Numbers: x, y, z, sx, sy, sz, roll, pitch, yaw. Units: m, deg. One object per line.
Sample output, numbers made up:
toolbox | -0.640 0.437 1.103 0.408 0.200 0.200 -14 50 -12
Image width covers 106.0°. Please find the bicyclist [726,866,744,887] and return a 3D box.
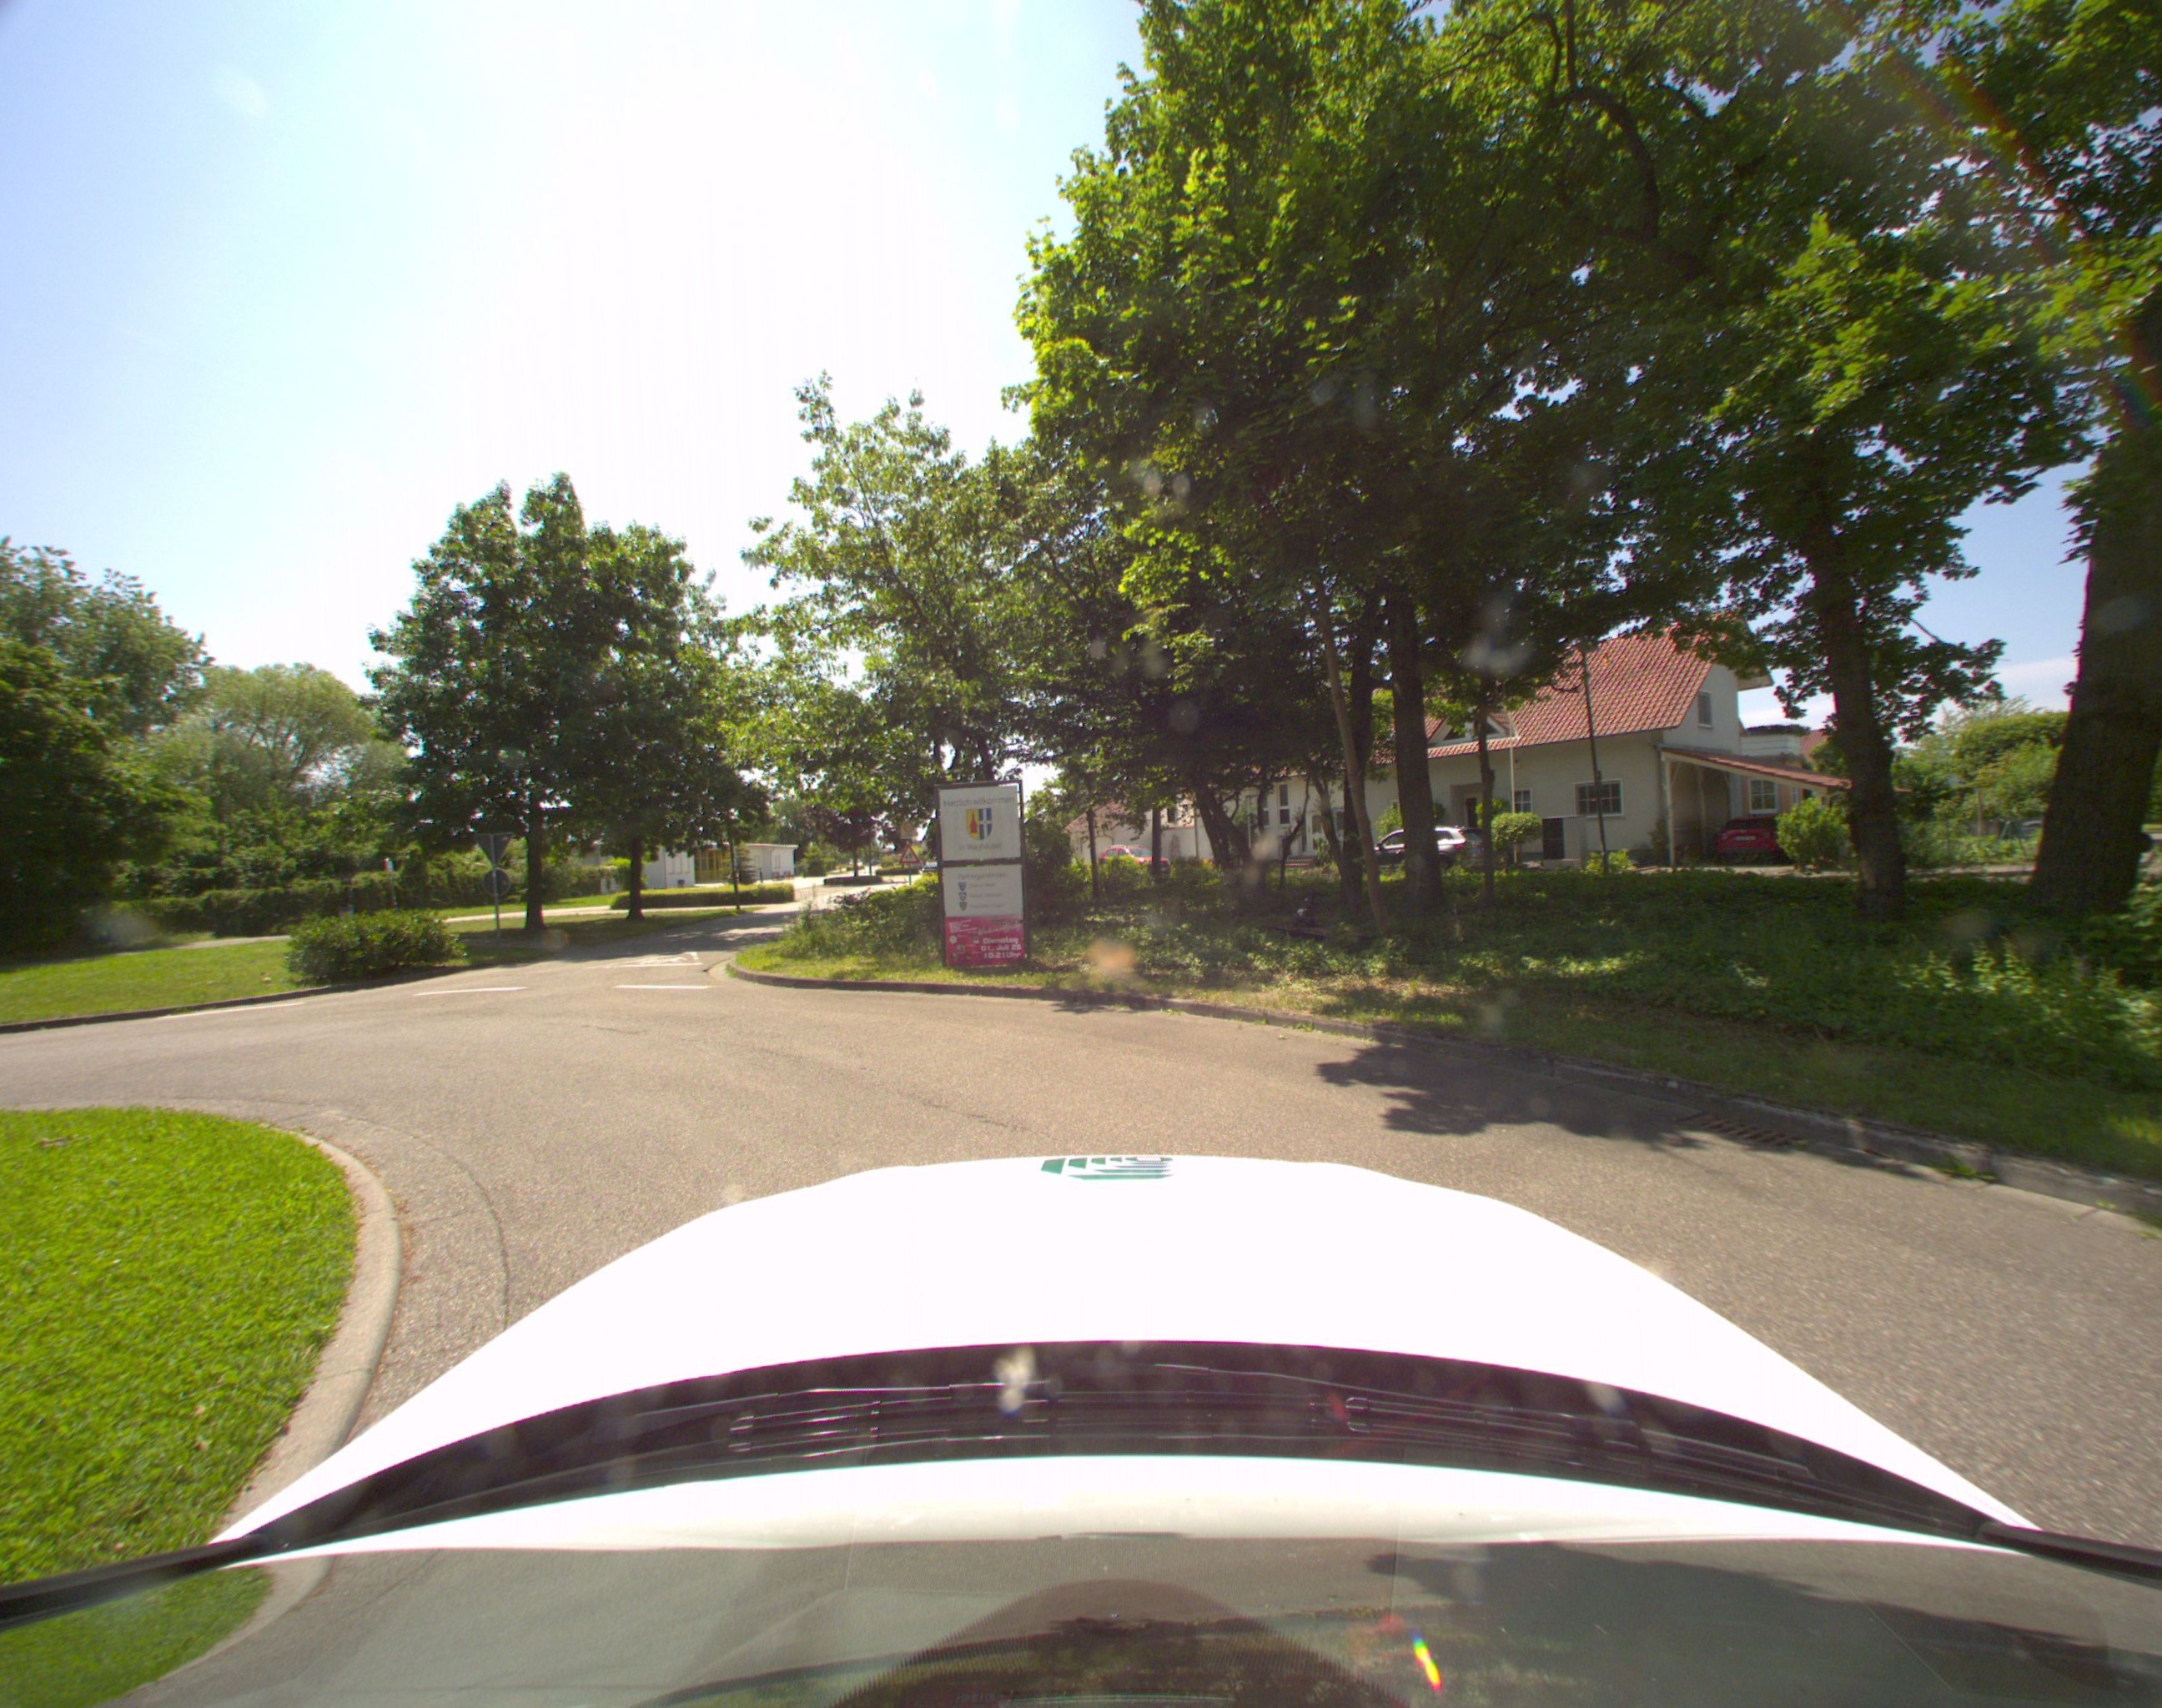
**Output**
bicyclist | -19.737 1.295 46.441 0.593 1.164 0.650 -3 0 10

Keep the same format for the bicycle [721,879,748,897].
bicycle | -19.717 1.922 46.360 0.593 0.929 1.625 -3 0 10

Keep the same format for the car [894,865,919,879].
car | -20.618 2.152 96.137 1.639 1.486 3.961 -3 0 -30

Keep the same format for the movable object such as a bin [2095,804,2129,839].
movable object such as a bin | 34.297 -1.083 27.091 0.459 1.112 0.651 -3 0 -38

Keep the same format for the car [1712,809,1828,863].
car | 20.539 -0.556 24.246 3.709 1.385 1.666 -3 0 -34

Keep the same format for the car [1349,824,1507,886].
car | 10.529 0.072 24.964 1.674 1.705 4.096 -3 0 -38

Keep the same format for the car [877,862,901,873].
car | -26.862 1.874 113.762 2.008 1.288 3.957 -3 0 -34

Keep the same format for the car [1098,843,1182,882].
car | 2.632 0.405 37.158 1.672 1.601 3.985 -3 0 -33

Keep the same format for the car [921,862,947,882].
car | -10.560 1.276 58.667 1.613 1.288 3.547 -3 0 -8
